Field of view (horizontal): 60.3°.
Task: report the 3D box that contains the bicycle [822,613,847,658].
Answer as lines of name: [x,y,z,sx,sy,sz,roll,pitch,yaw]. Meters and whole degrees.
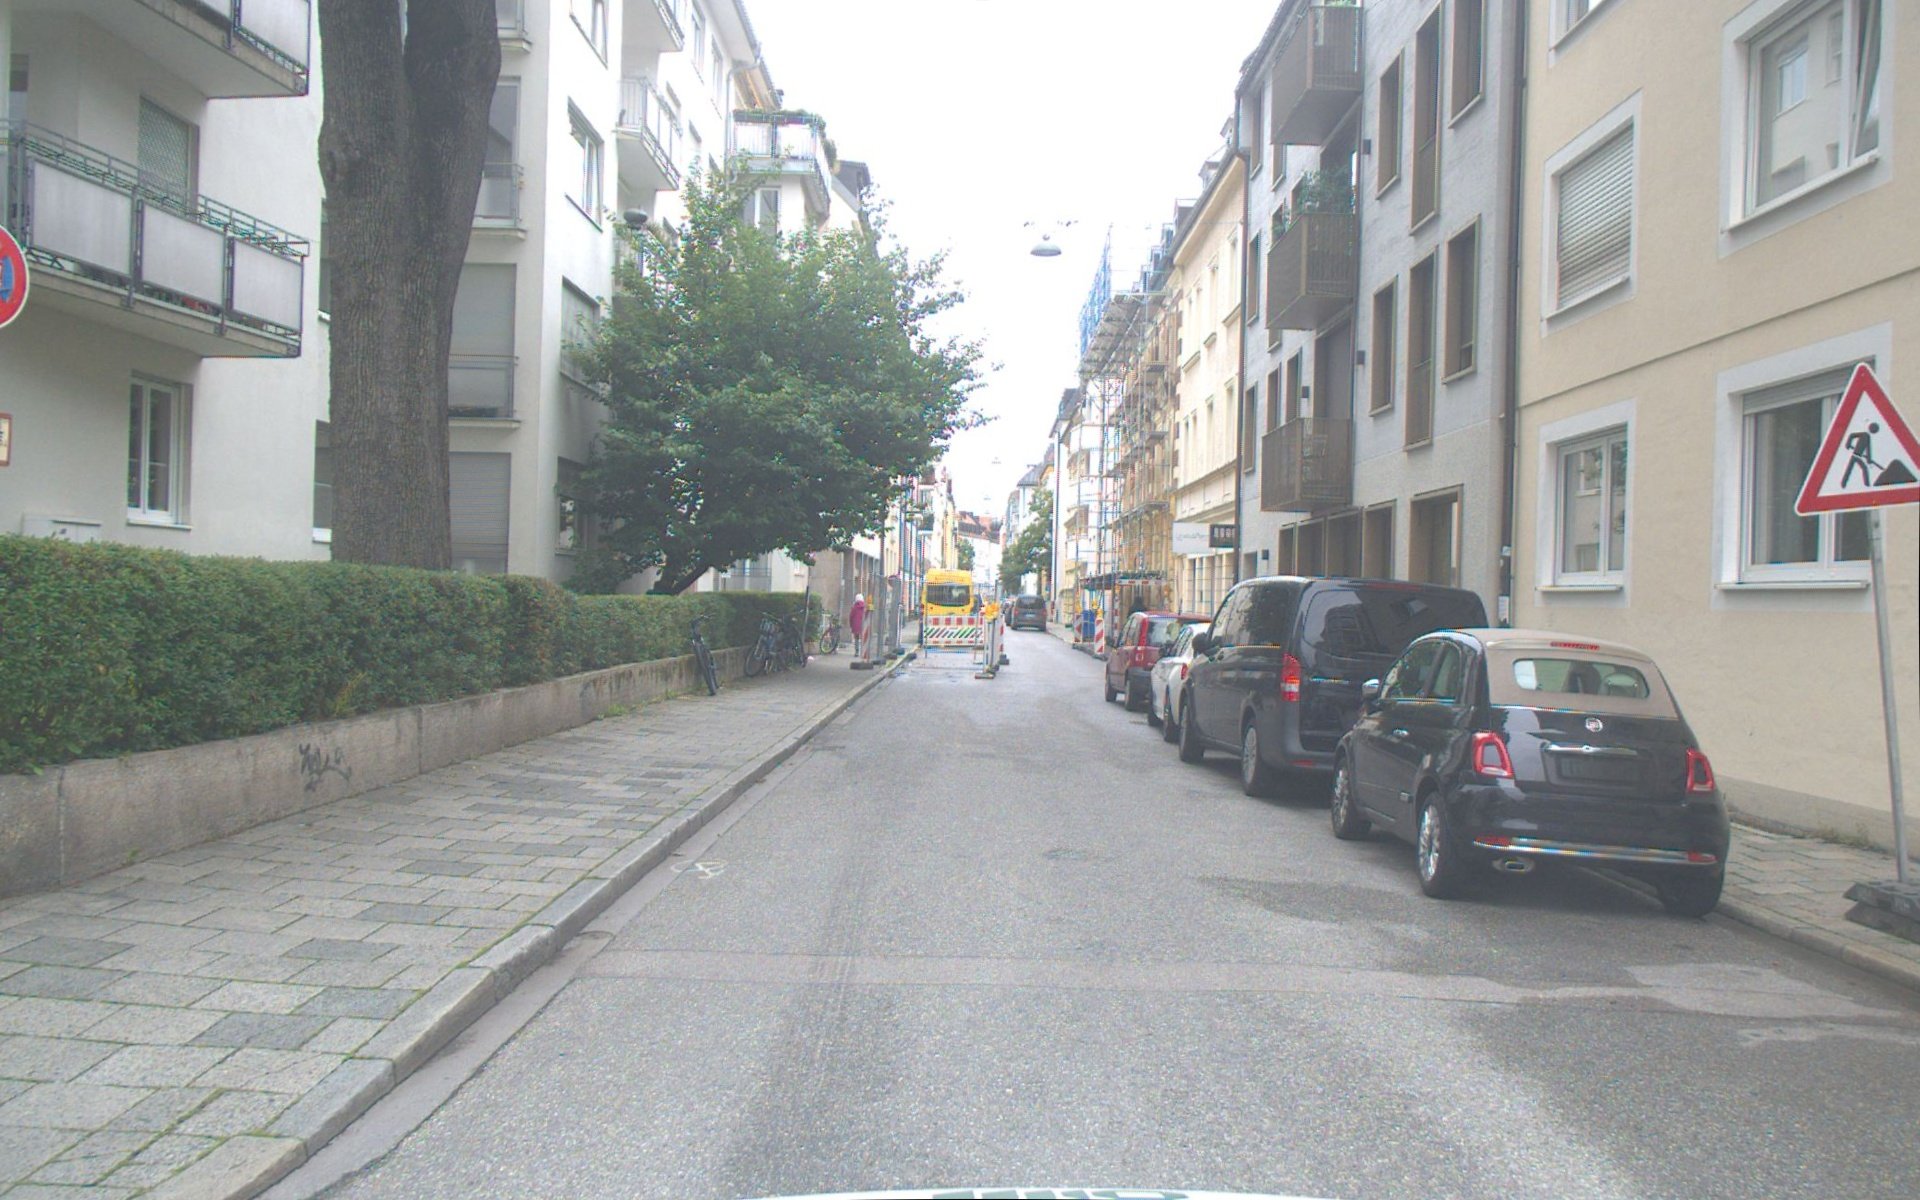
bicycle: [-3.216,0.895,42.585,0.369,1.081,1.597,7,0,1]

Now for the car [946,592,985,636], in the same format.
car: [0.261,0.628,76.164,1.692,1.930,5.508,0,0,0]

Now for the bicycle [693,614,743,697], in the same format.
bicycle: [-3.394,0.761,23.295,0.339,1.090,1.780,5,0,1]

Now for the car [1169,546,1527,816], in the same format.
car: [3.349,0.635,15.384,1.950,2.011,4.883,3,0,-2]

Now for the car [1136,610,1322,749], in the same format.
car: [3.339,0.931,21.278,1.732,1.486,4.381,3,0,2]

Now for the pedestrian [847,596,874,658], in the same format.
pedestrian: [-2.554,0.692,42.517,0.624,1.559,0.747,0,0,2]

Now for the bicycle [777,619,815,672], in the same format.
bicycle: [-3.237,0.888,32.778,0.434,0.995,1.854,4,-1,2]

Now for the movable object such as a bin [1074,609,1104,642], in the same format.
movable object such as a bin: [5.518,1.084,70.642,1.063,1.370,1.318,-2,0,13]

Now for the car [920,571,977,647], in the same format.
car: [-0.413,0.316,60.994,1.953,2.624,6.736,1,0,0]

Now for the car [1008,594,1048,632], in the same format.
car: [3.815,0.711,93.017,1.953,1.965,4.659,3,0,0]

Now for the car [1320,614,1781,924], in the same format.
car: [3.458,0.893,10.375,1.601,1.497,3.538,3,0,1]

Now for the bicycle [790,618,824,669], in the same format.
bicycle: [-3.197,0.904,34.643,0.434,0.995,1.816,4,-1,2]

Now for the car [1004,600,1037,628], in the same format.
car: [3.744,0.831,103.182,1.855,1.670,4.321,1,0,0]

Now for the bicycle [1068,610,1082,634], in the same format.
bicycle: [5.978,1.141,86.156,0.625,1.173,1.915,-1,1,1]

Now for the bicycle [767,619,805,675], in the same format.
bicycle: [-3.270,0.877,31.217,0.427,0.995,1.699,4,-1,2]

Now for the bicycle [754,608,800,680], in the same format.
bicycle: [-3.168,0.761,28.752,0.478,1.171,1.699,4,-1,2]

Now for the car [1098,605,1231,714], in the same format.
car: [3.253,0.903,26.971,1.735,1.550,4.067,3,0,2]

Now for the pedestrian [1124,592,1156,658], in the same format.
pedestrian: [4.999,0.700,45.969,0.714,1.783,0.988,-2,0,0]
